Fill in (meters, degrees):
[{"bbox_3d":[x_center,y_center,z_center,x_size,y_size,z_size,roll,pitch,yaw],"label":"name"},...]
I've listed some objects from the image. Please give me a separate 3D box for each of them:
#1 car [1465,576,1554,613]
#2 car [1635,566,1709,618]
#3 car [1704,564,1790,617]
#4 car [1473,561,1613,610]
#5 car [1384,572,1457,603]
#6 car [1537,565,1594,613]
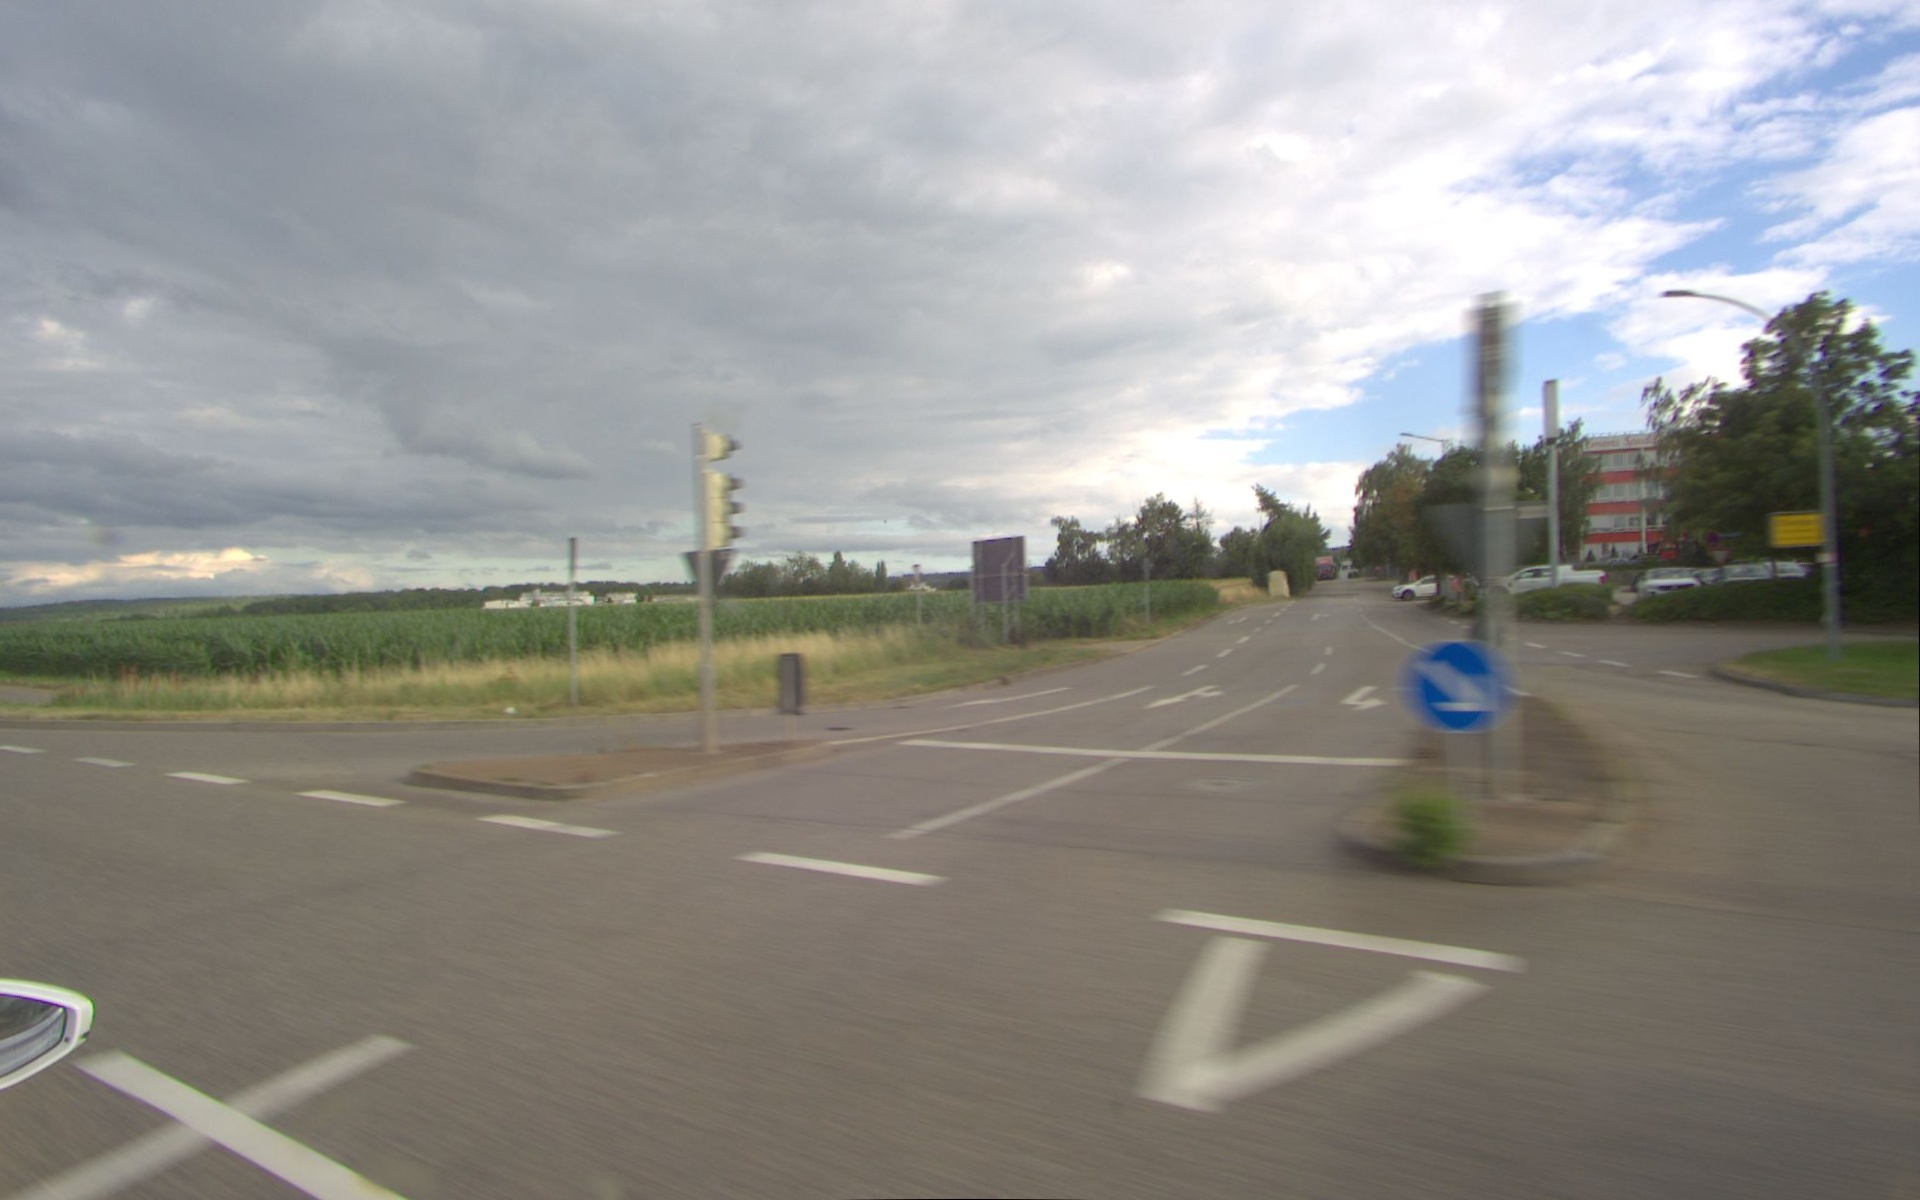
[{"bbox_3d":[31.011,-0.291,56.631,4.236,1.909,1.953,-2,2,25],"label":"car"},{"bbox_3d":[28.490,-0.348,40.181,1.931,1.909,4.284,-1,2,29],"label":"car"},{"bbox_3d":[30.452,-0.407,38.892,1.931,1.877,4.284,-1,2,29],"label":"car"},{"bbox_3d":[27.564,-0.669,47.577,5.524,2.040,1.993,-2,1,25],"label":"car"},{"bbox_3d":[30.169,-0.827,65.643,4.259,1.802,1.993,-2,1,25],"label":"car"},{"bbox_3d":[26.607,-0.518,44.081,1.931,1.909,4.284,-1,2,29],"label":"car"}]
